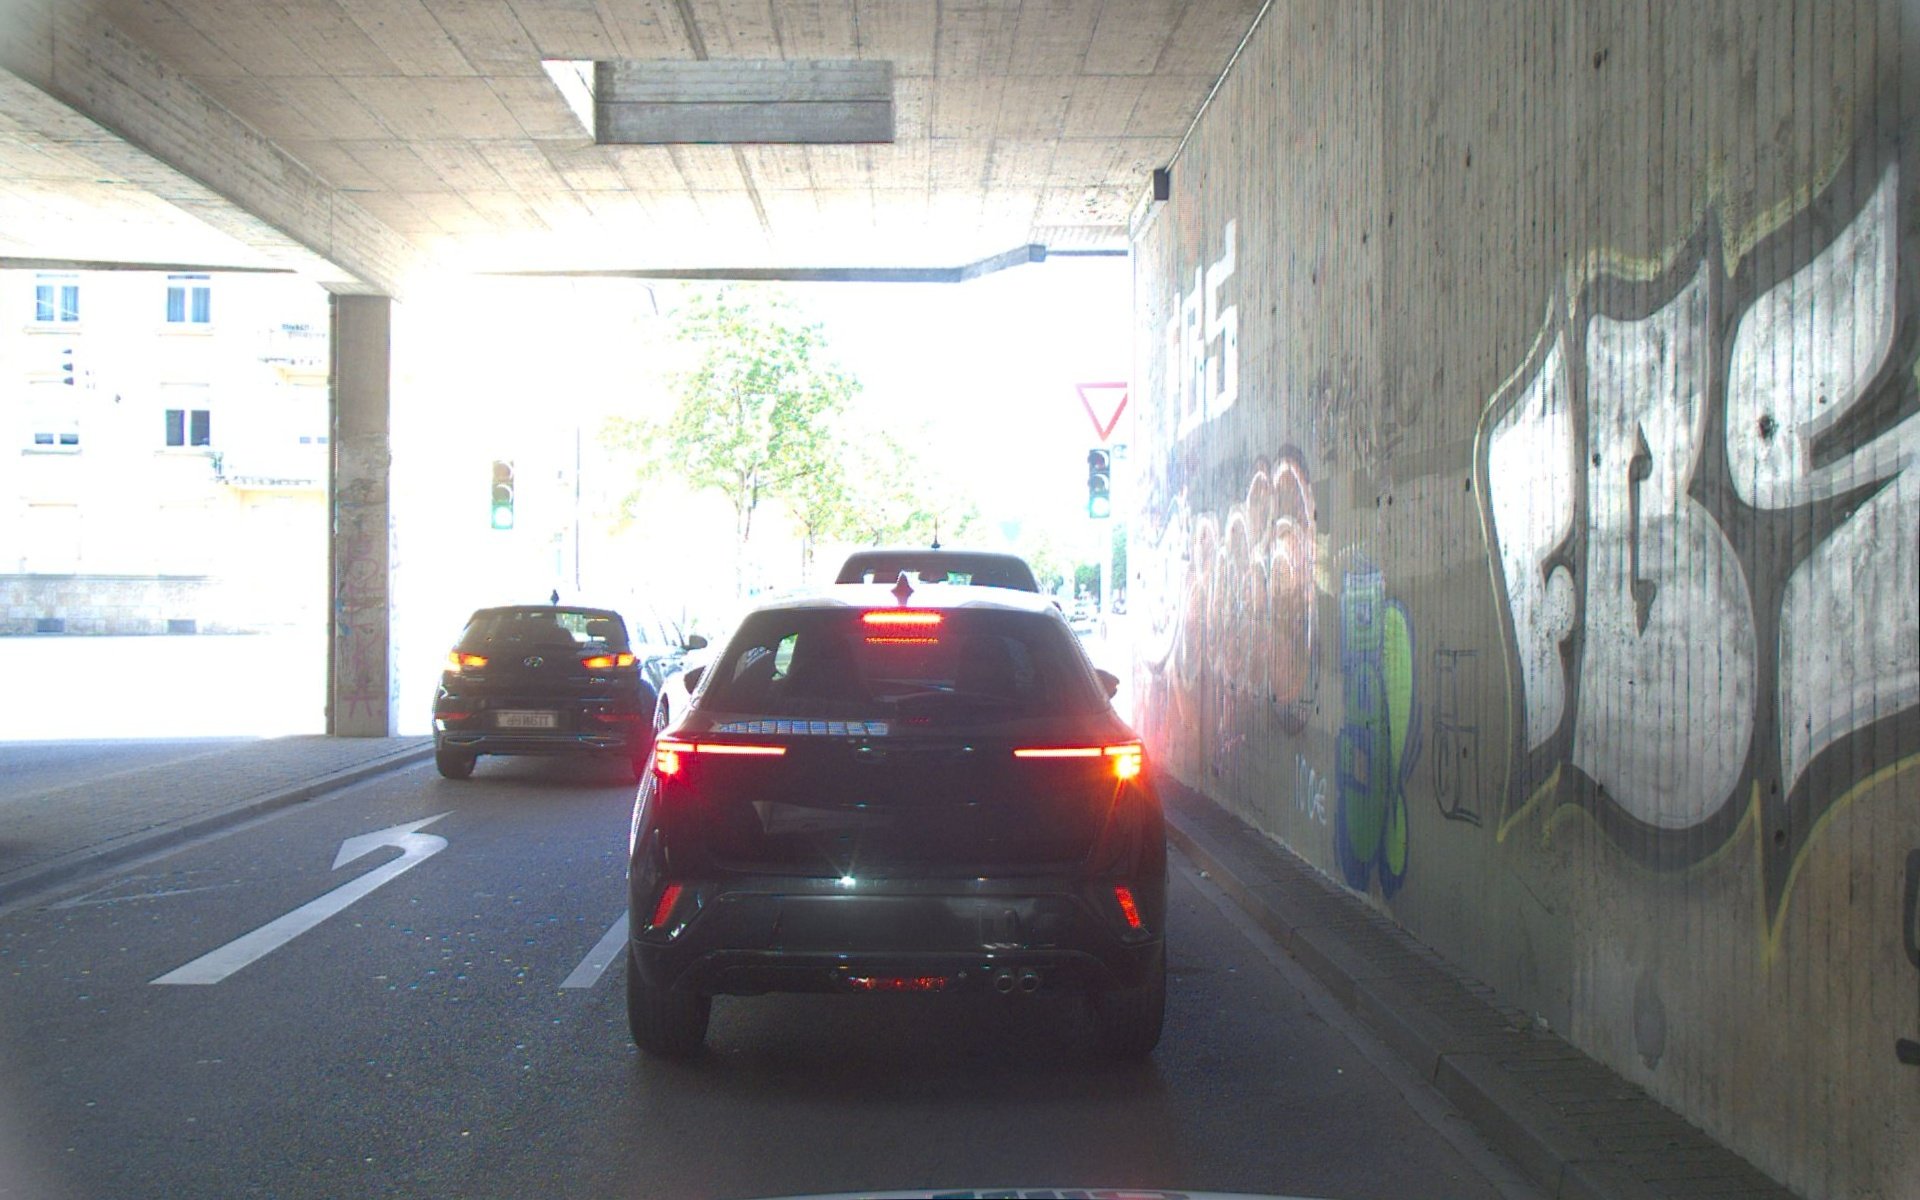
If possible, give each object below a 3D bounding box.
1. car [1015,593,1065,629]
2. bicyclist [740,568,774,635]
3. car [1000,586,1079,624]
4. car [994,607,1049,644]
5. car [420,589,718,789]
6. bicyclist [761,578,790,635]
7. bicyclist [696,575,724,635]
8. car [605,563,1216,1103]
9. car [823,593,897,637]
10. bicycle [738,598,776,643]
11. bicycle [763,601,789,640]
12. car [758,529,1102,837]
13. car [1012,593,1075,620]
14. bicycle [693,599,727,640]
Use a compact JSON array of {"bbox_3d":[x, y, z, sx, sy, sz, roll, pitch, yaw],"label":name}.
[{"bbox_3d":[3.655,0.476,75.071,1.668,1.539,3.866,-2,0,11],"label":"car"},{"bbox_3d":[-5.373,0.031,43.863,0.730,1.741,0.967,0,2,2],"label":"bicyclist"},{"bbox_3d":[5.595,0.376,116.238,5.175,2.590,1.977,0,-1,-16],"label":"car"},{"bbox_3d":[2.582,1.033,68.596,1.671,1.477,3.854,0,0,11],"label":"car"},{"bbox_3d":[-3.219,0.651,14.468,1.765,1.476,4.324,0,0,-3],"label":"car"},{"bbox_3d":[-5.586,0.186,50.114,0.766,1.689,1.031,0,0,1],"label":"bicyclist"},{"bbox_3d":[-7.010,0.128,46.352,0.593,1.661,0.910,0,0,4],"label":"bicyclist"},{"bbox_3d":[-0.166,0.668,6.646,1.745,1.544,3.755,1,0,-1],"label":"car"},{"bbox_3d":[-3.442,0.502,57.391,1.622,1.466,3.466,0,0,13],"label":"car"},{"bbox_3d":[-5.378,0.538,43.898,0.683,1.109,1.861,0,2,2],"label":"bicycle"},{"bbox_3d":[-5.563,0.601,50.133,0.530,1.142,2.059,0,0,1],"label":"bicycle"},{"bbox_3d":[-0.199,0.493,12.529,2.089,1.867,4.940,0,0,-1],"label":"car"},{"bbox_3d":[6.764,0.544,134.034,4.822,2.119,1.969,0,-1,-26],"label":"car"},{"bbox_3d":[-6.990,0.539,46.295,0.514,1.109,1.861,0,0,4],"label":"bicycle"}]
